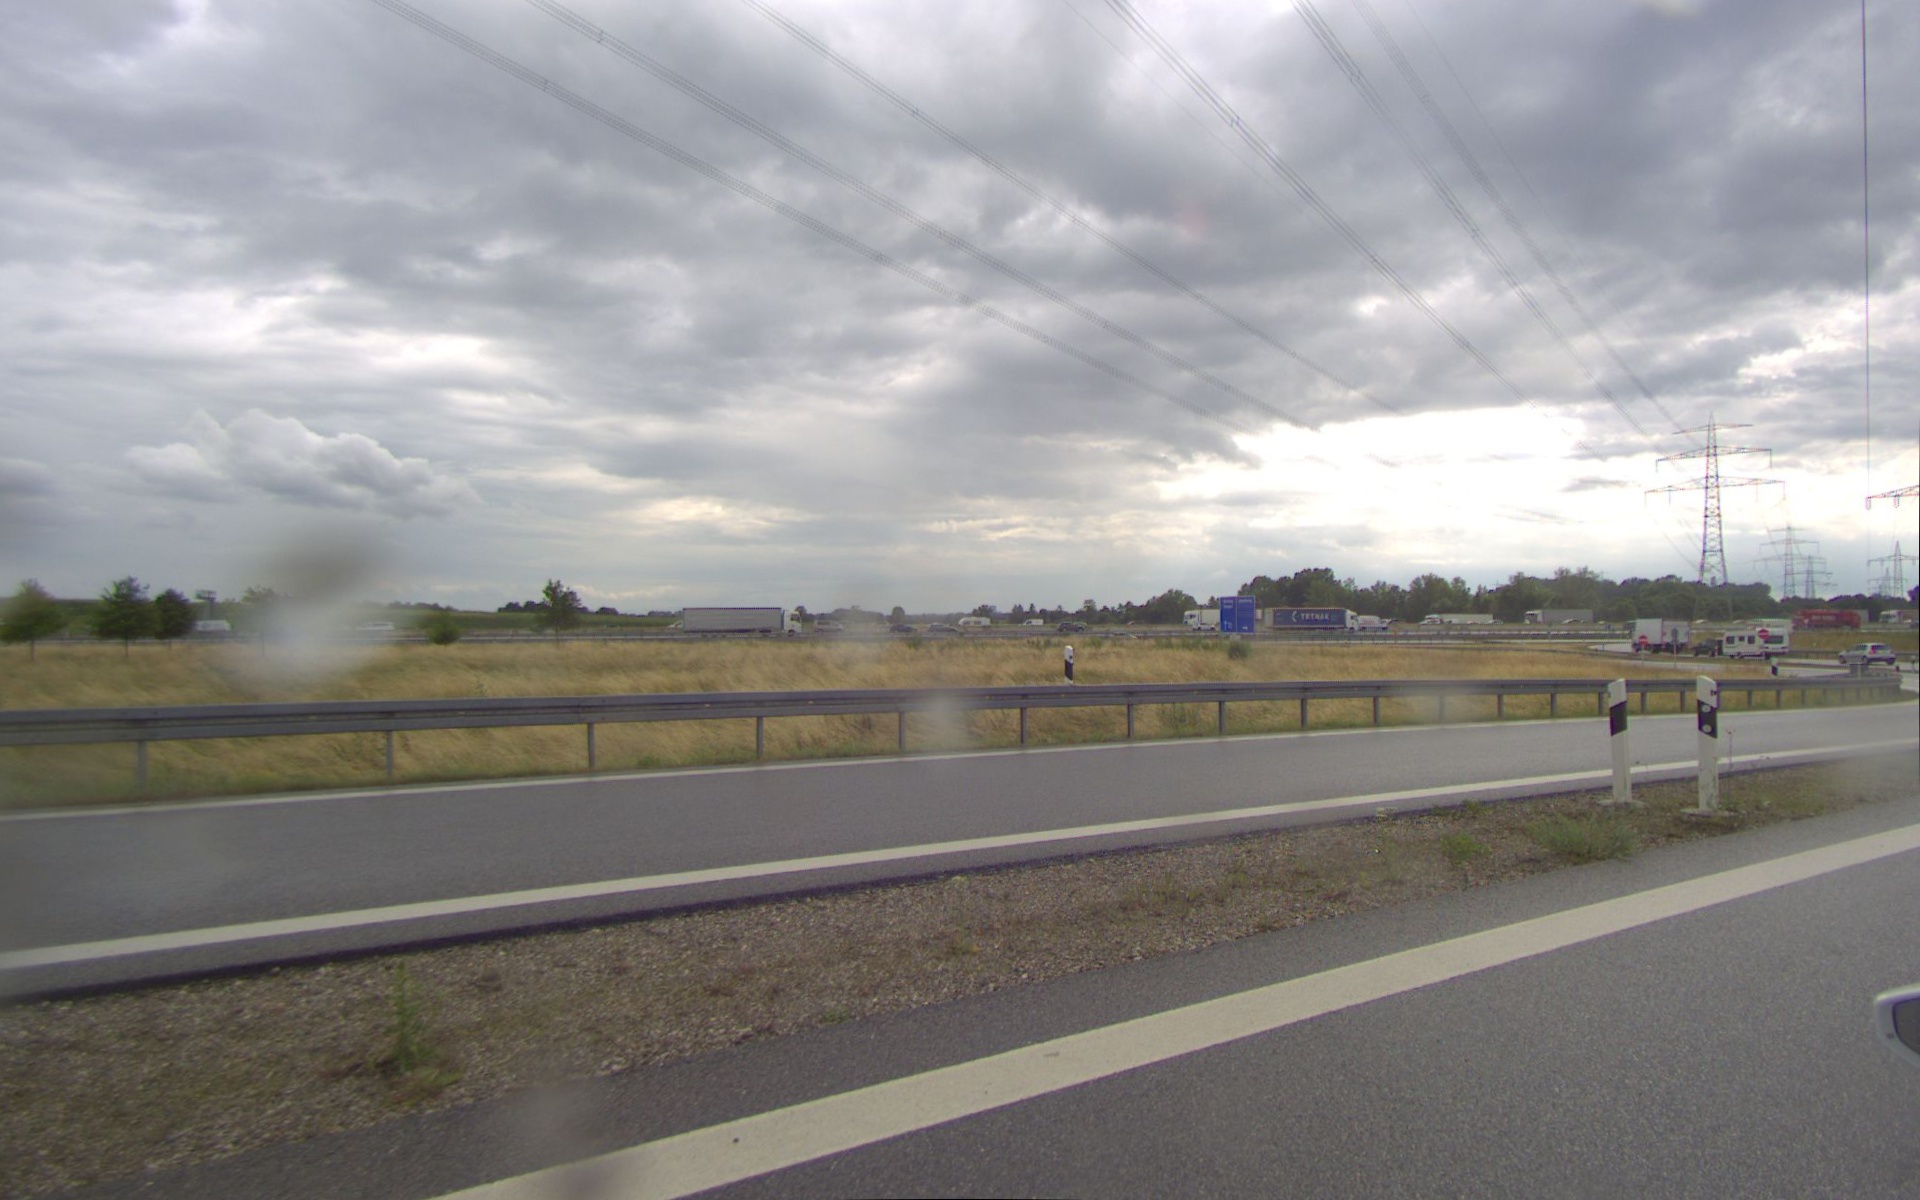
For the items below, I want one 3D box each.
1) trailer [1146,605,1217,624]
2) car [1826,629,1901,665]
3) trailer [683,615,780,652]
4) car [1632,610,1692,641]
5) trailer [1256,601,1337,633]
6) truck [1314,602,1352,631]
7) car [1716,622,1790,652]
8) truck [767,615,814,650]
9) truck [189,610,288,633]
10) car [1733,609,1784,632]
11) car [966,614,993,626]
[{"bbox_3d":[43.269,2.878,196.511,13.865,3.720,2.850,1,0,-15],"label":"trailer"},{"bbox_3d":[66.418,3.435,73.965,2.313,2.338,5.127,-1,0,20],"label":"car"},{"bbox_3d":[-32.151,4.688,141.444,13.171,4.678,3.472,-2,0,-16],"label":"trailer"},{"bbox_3d":[74.007,2.666,106.053,3.083,2.991,7.210,-1,0,17],"label":"car"},{"bbox_3d":[55.379,2.736,165.134,13.080,4.698,3.048,-2,0,-16],"label":"trailer"},{"bbox_3d":[61.923,2.706,166.953,4.985,4.540,3.070,-2,0,-13],"label":"truck"},{"bbox_3d":[67.858,3.127,86.076,2.312,2.338,5.128,-2,0,0],"label":"car"},{"bbox_3d":[-24.270,4.595,143.685,6.164,4.627,3.340,-2,0,-16],"label":"truck"},{"bbox_3d":[-111.404,3.283,155.271,11.844,3.133,3.221,-1,2,-15],"label":"truck"},{"bbox_3d":[131.021,3.361,164.830,8.934,3.658,3.369,1,-1,-29],"label":"car"},{"bbox_3d":[3.593,3.733,185.474,4.669,2.040,1.997,-2,0,-10],"label":"car"}]
